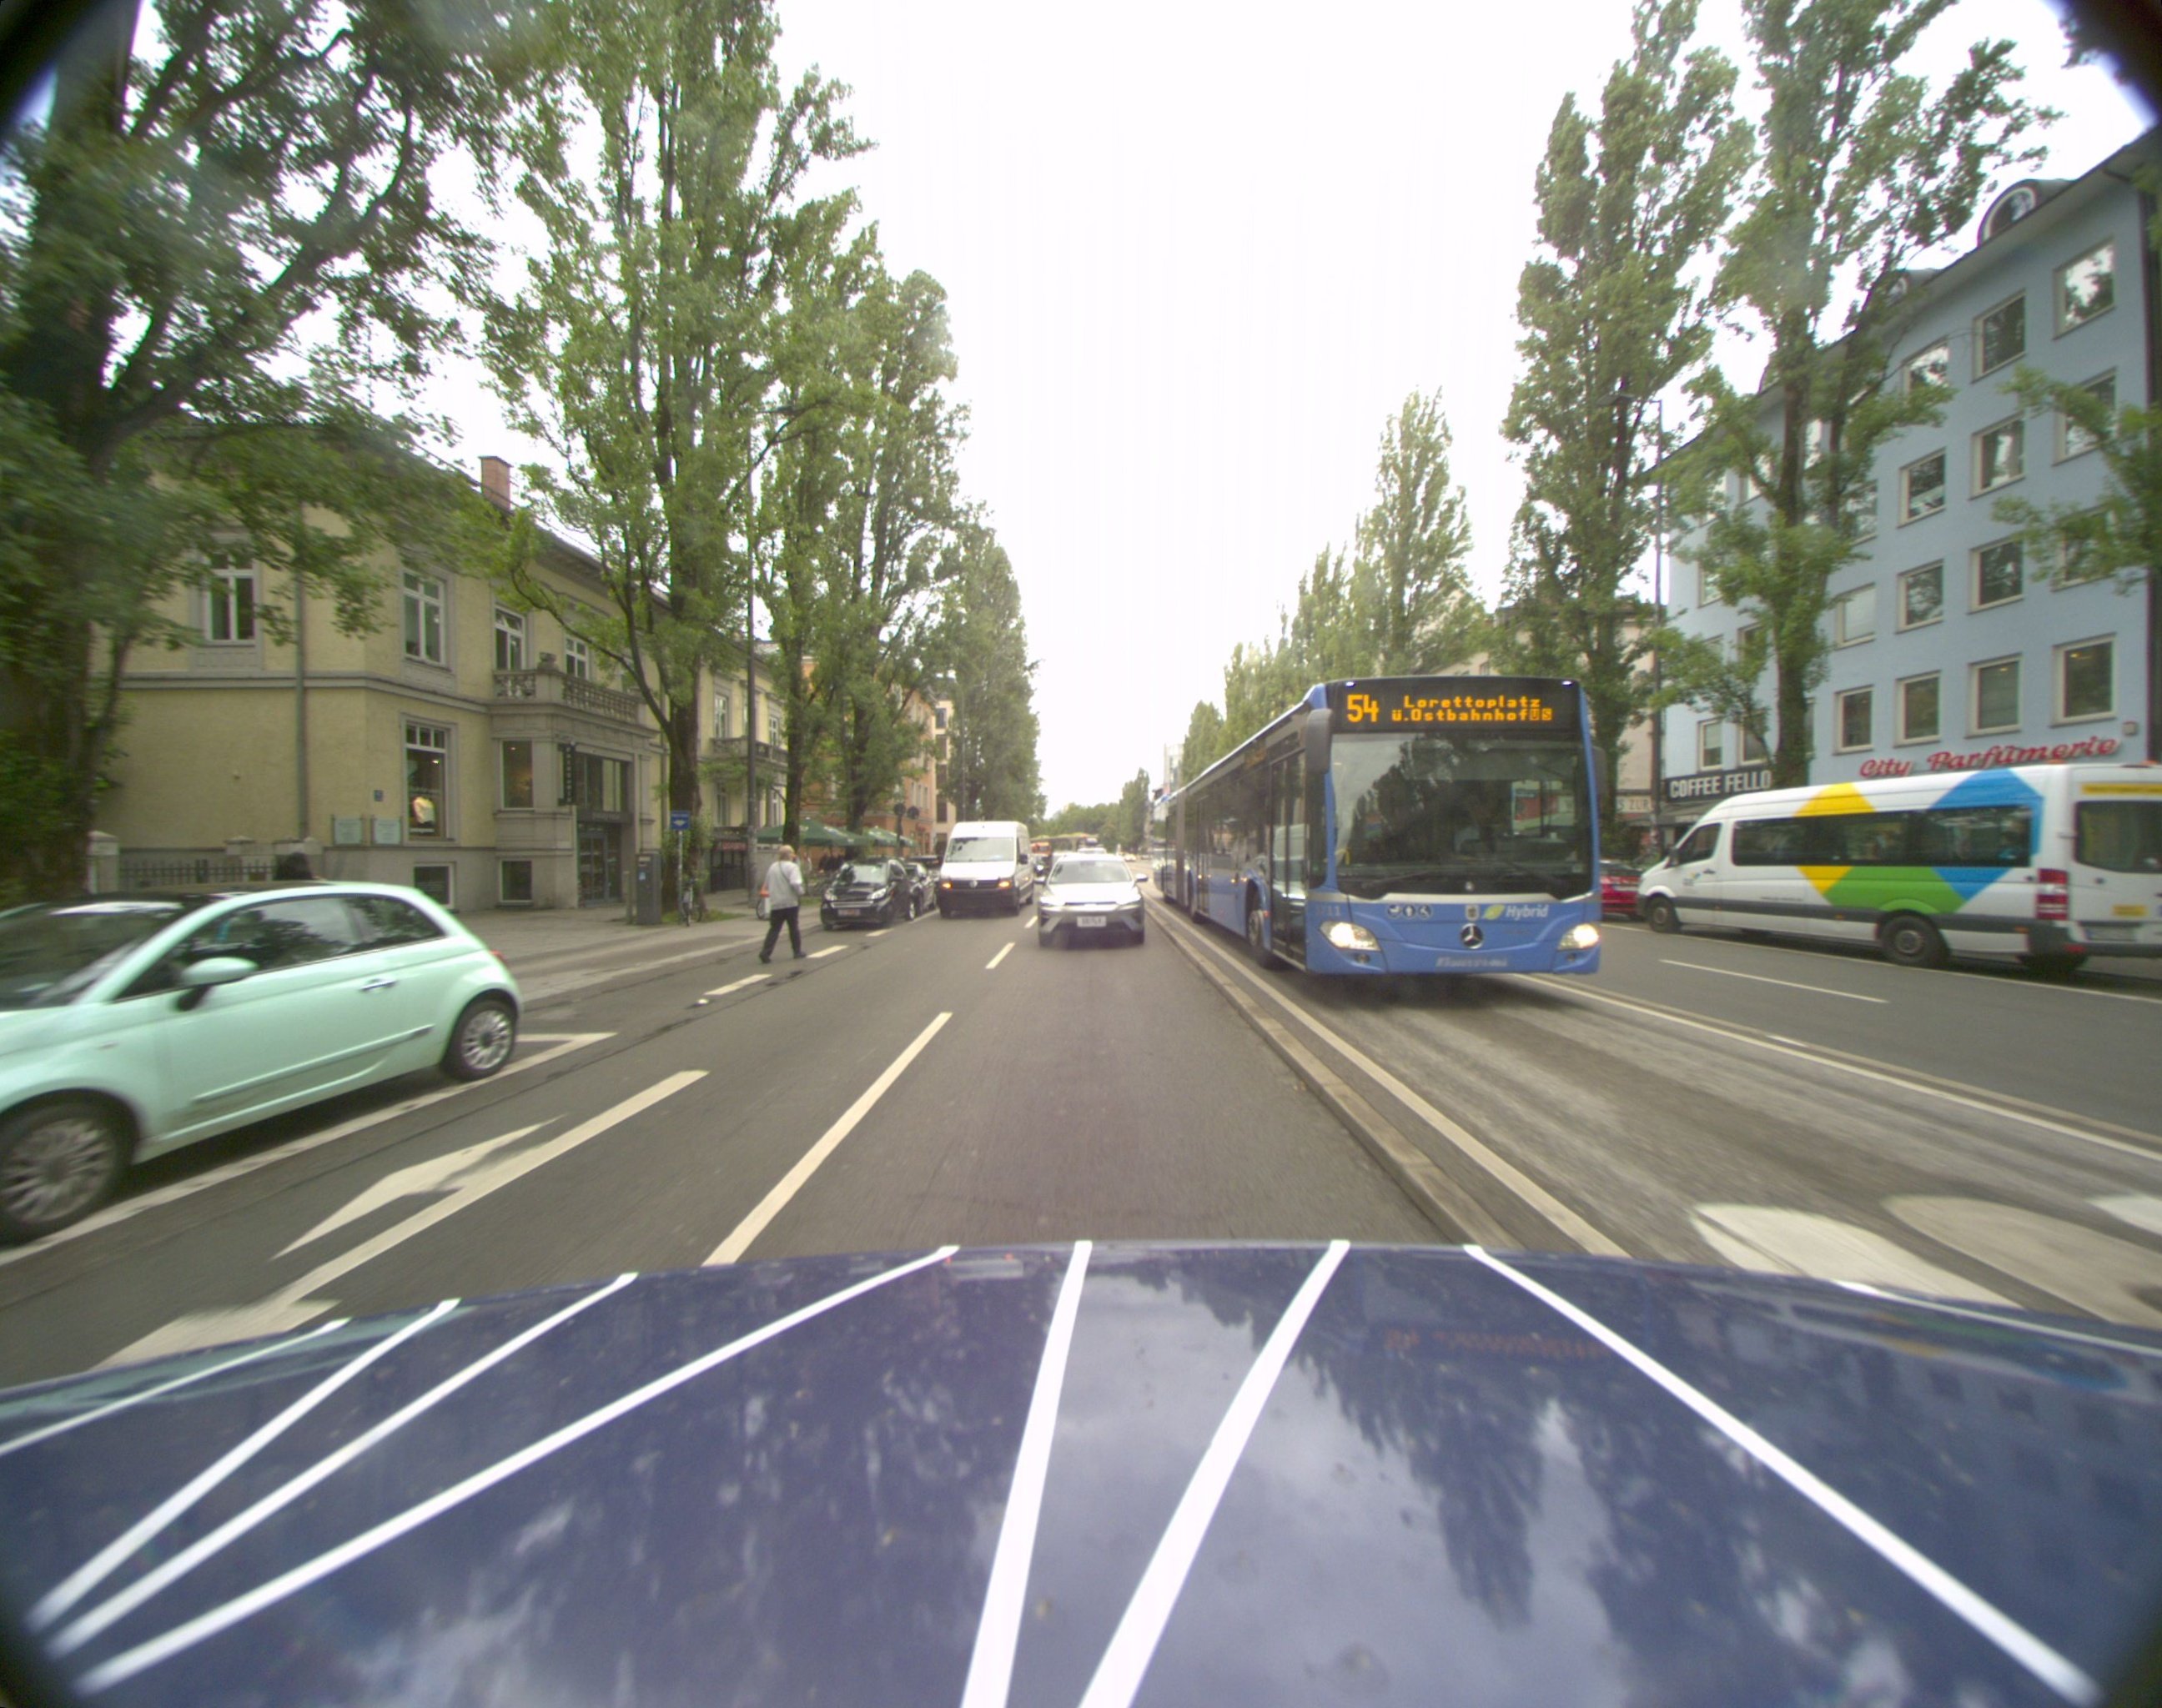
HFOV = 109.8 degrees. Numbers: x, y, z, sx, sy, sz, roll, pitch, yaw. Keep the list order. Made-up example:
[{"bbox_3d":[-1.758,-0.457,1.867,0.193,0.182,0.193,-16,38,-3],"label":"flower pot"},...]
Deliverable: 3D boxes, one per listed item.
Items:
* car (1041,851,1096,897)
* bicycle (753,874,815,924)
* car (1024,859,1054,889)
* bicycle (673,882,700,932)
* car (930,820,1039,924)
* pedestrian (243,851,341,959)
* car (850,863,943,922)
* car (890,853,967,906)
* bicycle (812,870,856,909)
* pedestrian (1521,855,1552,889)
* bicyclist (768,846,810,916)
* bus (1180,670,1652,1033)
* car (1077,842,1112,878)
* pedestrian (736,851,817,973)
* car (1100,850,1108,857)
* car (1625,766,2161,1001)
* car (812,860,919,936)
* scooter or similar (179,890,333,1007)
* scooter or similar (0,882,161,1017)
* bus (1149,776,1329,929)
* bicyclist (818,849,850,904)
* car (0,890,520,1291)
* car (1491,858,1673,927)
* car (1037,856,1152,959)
[{"bbox_3d":[-0.545,0.722,29.692,1.883,1.582,4.190,-2,0,-4],"label":"car"},{"bbox_3d":[-7.451,1.111,19.155,0.887,1.113,2.101,1,0,-5],"label":"bicycle"},{"bbox_3d":[-2.650,1.245,48.049,1.707,1.683,4.002,-3,0,-3],"label":"car"},{"bbox_3d":[-8.858,1.164,17.096,0.510,0.988,1.624,-1,1,-27],"label":"bicycle"},{"bbox_3d":[-2.533,0.421,21.858,2.068,2.478,6.730,-1,0,1],"label":"car"},{"bbox_3d":[-12.219,0.762,11.800,0.618,1.596,0.870,1,1,-2],"label":"pedestrian"},{"bbox_3d":[-5.038,0.993,21.303,1.714,1.385,4.342,-1,0,-3],"label":"car"},{"bbox_3d":[-5.224,0.817,26.637,1.808,1.628,4.446,-2,1,-1],"label":"car"},{"bbox_3d":[-7.677,1.075,23.751,0.737,1.113,2.101,-1,1,-2],"label":"bicycle"},{"bbox_3d":[18.134,0.703,30.248,0.699,1.355,0.950,0,1,4],"label":"pedestrian"},{"bbox_3d":[-7.489,0.678,19.504,0.831,1.747,0.667,0,1,-5],"label":"bicyclist"},{"bbox_3d":[3.378,-0.047,11.205,2.696,2.932,10.052,0,0,1],"label":"bus"},{"bbox_3d":[0.729,0.270,42.822,1.839,1.831,5.129,-2,1,0],"label":"car"},{"bbox_3d":[-4.588,0.849,11.504,0.829,1.763,0.871,-1,1,2],"label":"pedestrian"},{"bbox_3d":[5.128,-0.114,170.156,1.718,1.532,4.076,1,0,1],"label":"car"},{"bbox_3d":[11.892,0.314,11.759,2.010,2.553,6.911,1,0,1],"label":"car"},{"bbox_3d":[-4.851,0.946,17.440,1.596,1.509,2.729,-2,0,1],"label":"car"},{"bbox_3d":[-9.922,1.093,9.207,0.328,1.209,1.443,1,1,-3],"label":"scooter or similar"},{"bbox_3d":[-11.735,1.030,8.209,0.638,1.368,2.494,1,0,-3],"label":"scooter or similar"},{"bbox_3d":[3.500,-0.064,19.692,2.690,2.932,10.051,0,0,1],"label":"bus"},{"bbox_3d":[-7.675,0.696,23.655,0.741,1.677,0.748,-1,1,-2],"label":"bicyclist"},{"bbox_3d":[-5.176,1.052,4.110,1.545,1.484,3.523,-1,1,2],"label":"car"},{"bbox_3d":[12.033,0.848,18.631,1.741,1.411,4.148,1,0,1],"label":"car"},{"bbox_3d":[0.216,0.842,13.894,1.742,1.510,4.033,-2,0,0],"label":"car"}]
